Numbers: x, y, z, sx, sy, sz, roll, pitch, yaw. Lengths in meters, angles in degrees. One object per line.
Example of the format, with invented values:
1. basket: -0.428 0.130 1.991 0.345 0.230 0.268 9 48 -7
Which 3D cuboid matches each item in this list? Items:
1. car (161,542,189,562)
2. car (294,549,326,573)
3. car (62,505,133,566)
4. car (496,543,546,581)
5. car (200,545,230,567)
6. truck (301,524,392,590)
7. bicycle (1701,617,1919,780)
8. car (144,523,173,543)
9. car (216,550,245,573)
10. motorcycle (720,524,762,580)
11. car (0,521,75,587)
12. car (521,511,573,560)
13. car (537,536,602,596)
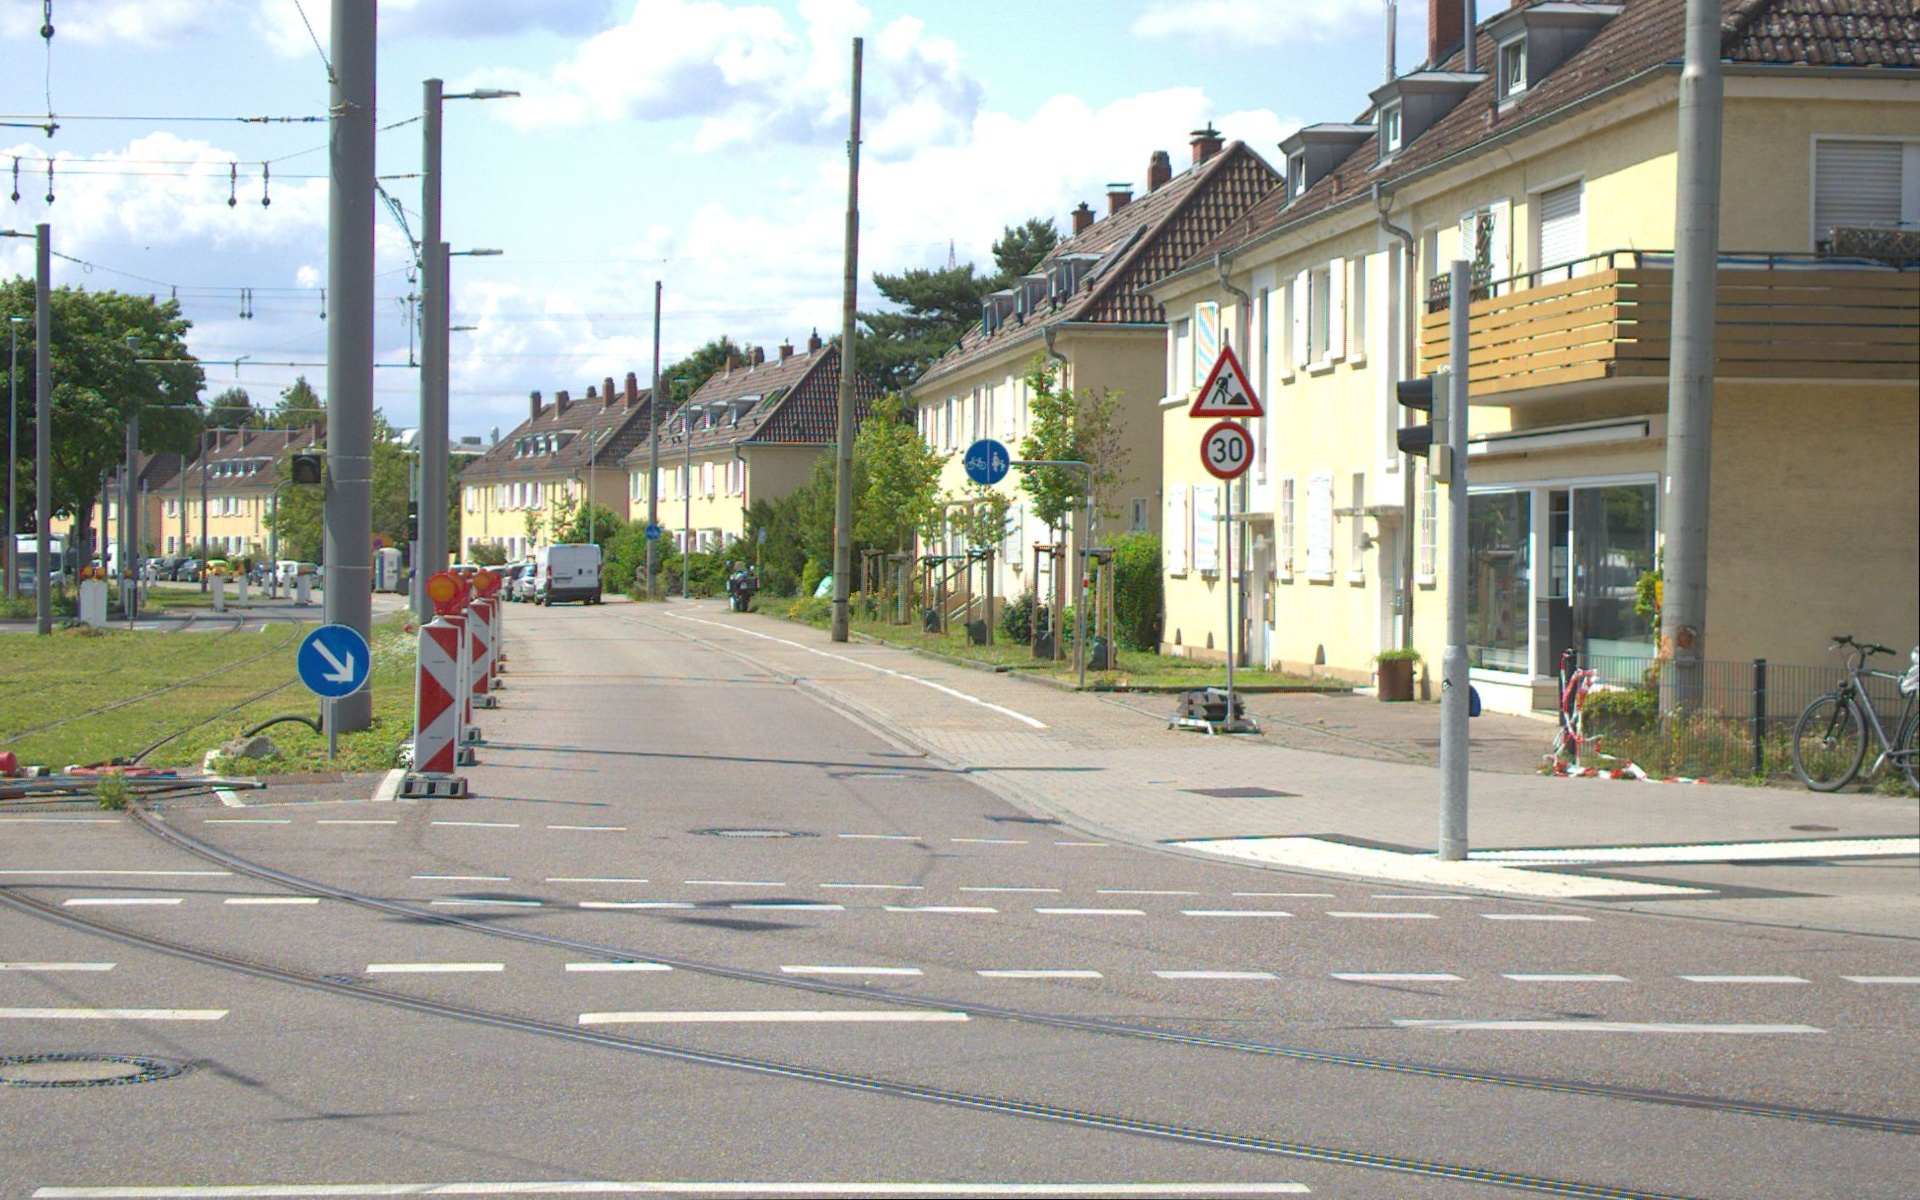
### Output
1. car: -52.389 -3.205 229.419 1.257 1.346 2.666 0 1 -27
2. car: -37.636 -2.257 199.009 1.257 1.421 2.666 0 1 -24
3. car: -34.380 -2.568 136.908 2.406 2.362 4.881 0 1 -18
4. car: -18.029 -1.559 141.193 1.567 1.546 3.790 0 1 -14
5. car: -48.333 -2.874 222.938 1.257 1.421 2.666 0 1 -27
6. truck: -33.369 -2.356 186.784 2.640 3.482 9.440 0 1 -24
7. bicycle: 6.352 0.690 24.999 0.593 1.093 2.277 0 1 -26
8. car: -54.336 -4.510 233.060 1.257 1.346 2.666 0 1 -27
9. car: -46.353 -2.455 218.441 1.257 1.421 2.666 0 1 -25
10. motorcycle: -6.456 -1.428 101.306 1.066 1.630 2.084 0 1 -9
11. car: -33.494 -1.675 124.749 2.406 2.330 4.881 0 1 -18
12. car: -16.373 -2.544 136.175 1.567 1.891 3.790 0 1 -14
13. car: -14.396 -1.258 126.602 2.065 2.142 4.880 0 1 -10
